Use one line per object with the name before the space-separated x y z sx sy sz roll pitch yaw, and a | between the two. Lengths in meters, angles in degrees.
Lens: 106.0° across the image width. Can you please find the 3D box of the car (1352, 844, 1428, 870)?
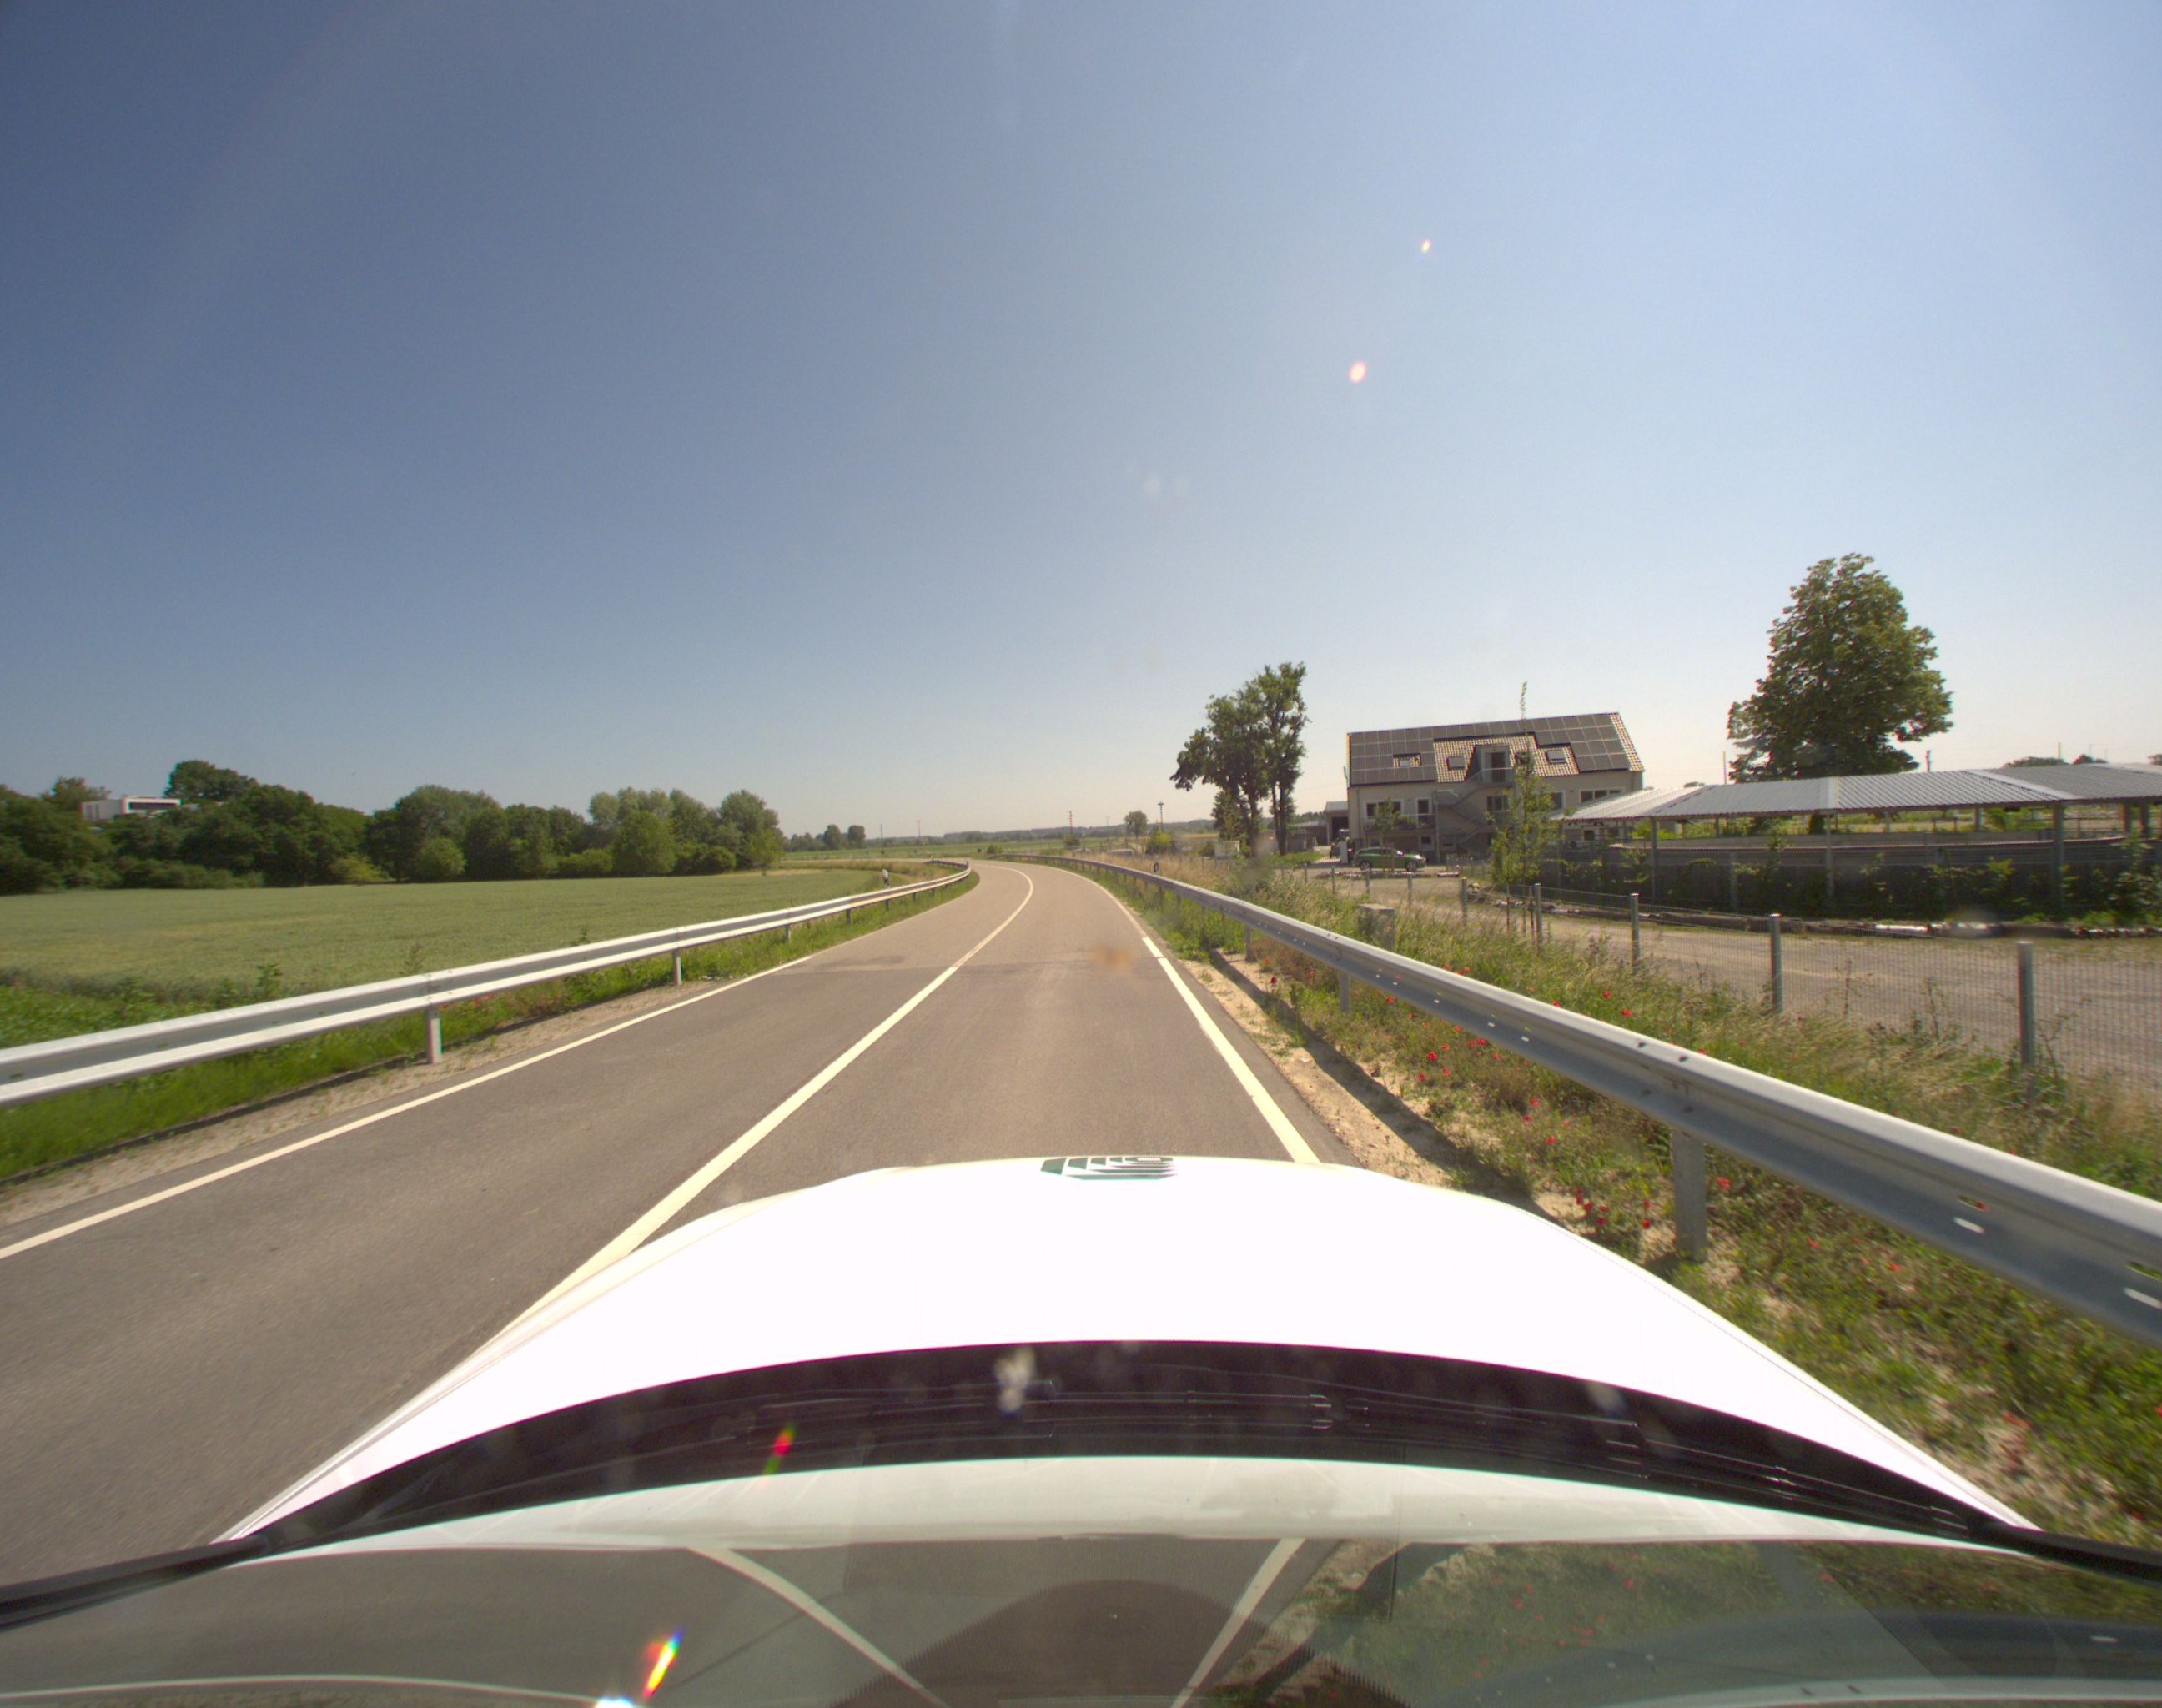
car | 19.302 0.188 50.920 4.322 1.580 1.944 -1 -1 21

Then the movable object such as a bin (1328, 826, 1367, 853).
movable object such as a bin | 29.110 -1.602 89.211 2.985 2.769 6.520 -1 1 8

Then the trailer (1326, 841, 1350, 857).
trailer | 24.569 -0.448 77.804 1.694 1.496 3.160 -2 -1 27
